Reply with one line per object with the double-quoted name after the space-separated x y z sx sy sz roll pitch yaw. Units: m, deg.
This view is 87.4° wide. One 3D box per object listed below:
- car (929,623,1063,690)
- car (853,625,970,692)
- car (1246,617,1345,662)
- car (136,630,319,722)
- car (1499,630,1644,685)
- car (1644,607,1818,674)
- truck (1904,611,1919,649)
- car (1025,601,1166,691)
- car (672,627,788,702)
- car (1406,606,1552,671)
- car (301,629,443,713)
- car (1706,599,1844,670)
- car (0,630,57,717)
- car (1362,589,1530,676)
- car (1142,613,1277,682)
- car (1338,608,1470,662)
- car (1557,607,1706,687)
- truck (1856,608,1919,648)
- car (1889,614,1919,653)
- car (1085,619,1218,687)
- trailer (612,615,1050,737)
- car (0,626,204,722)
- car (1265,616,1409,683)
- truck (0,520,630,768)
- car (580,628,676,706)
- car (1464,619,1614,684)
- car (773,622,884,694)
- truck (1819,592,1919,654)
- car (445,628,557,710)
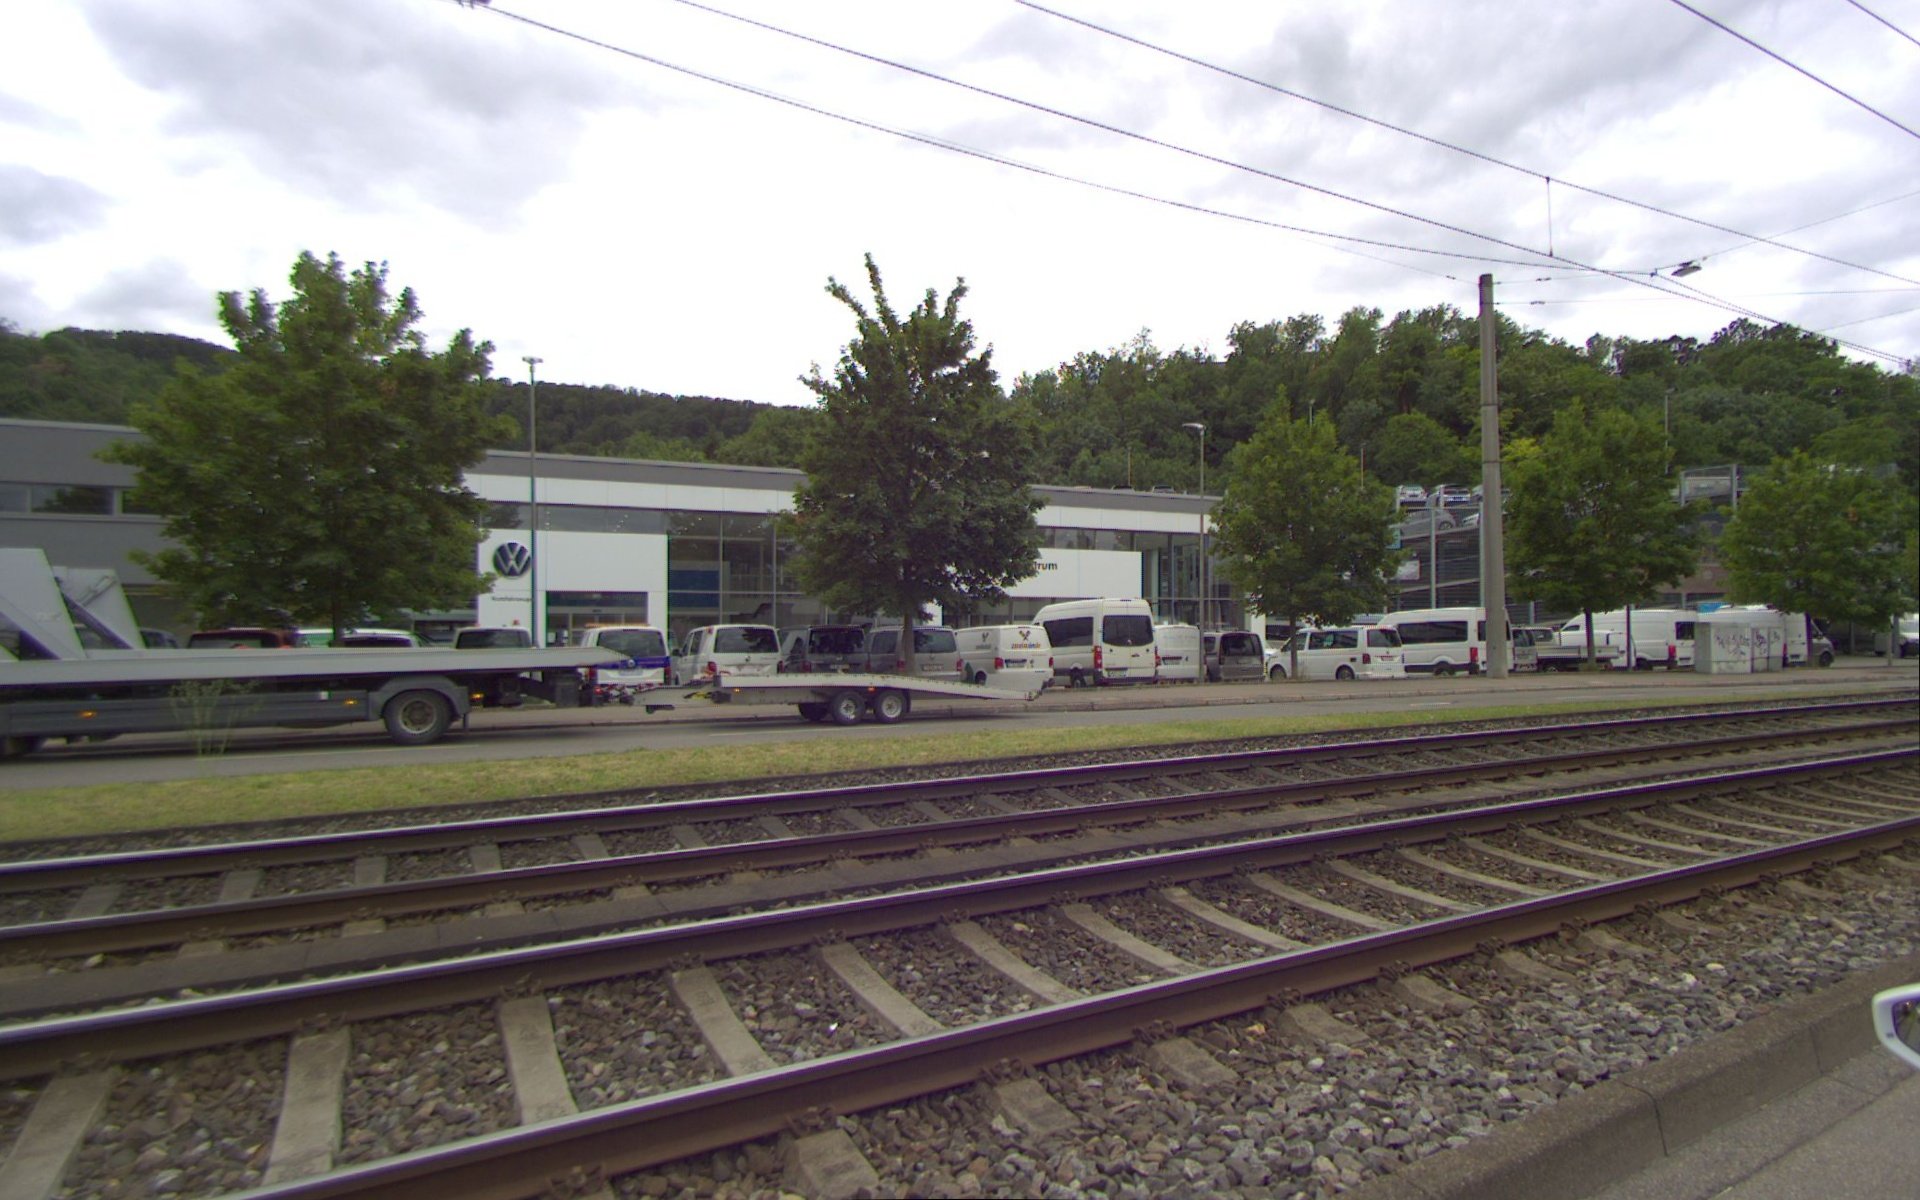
0.889 1.496 27.947 2.003 1.711 4.354 0 -1 -25 "car"
-1.410 1.514 27.377 1.974 1.639 4.360 0 -1 -20 "car"
16.046 1.884 48.351 1.969 2.040 4.838 0 -2 -19 "car"
-14.852 1.461 20.647 1.970 1.639 3.982 0 -1 -20 "car"
23.184 2.111 38.257 1.977 1.936 4.353 0 -1 -25 "car"
32.343 1.648 42.389 2.213 2.636 5.464 0 -1 -21 "car"
67.627 2.037 67.881 2.419 2.622 5.781 0 -2 3 "truck"
3.717 1.244 28.387 2.093 2.342 4.490 0 -1 -20 "car"
-5.745 1.494 24.717 1.977 1.639 4.354 0 -1 -25 "car"
18.523 1.346 36.075 1.977 2.201 4.353 0 -1 -25 "car"
-12.762 1.459 22.065 1.970 1.639 3.982 0 -1 -20 "car"
36.784 1.525 45.326 5.846 3.059 2.105 0 -1 -20 "car"
-19.052 1.380 18.588 2.031 1.639 4.173 0 -1 -20 "car"
16.461 1.088 34.340 2.087 2.734 4.951 0 -1 -25 "car"
7.642 1.410 31.220 1.974 1.973 4.360 0 -1 -20 "car"
22.644 1.771 51.417 5.863 2.636 1.995 -1 -2 39 "car"
25.611 1.737 38.471 1.977 2.856 4.353 0 -1 -25 "car"
64.761 1.907 68.754 2.419 2.622 5.075 0 -2 3 "truck"
51.676 1.762 52.565 1.960 2.040 4.734 0 -2 6 "car"
5.634 1.514 30.169 1.974 1.869 4.360 0 -1 -20 "car"
-2.081 1.171 16.704 6.852 1.720 2.377 1 -3 -25 "trailer"
-16.950 1.366 19.928 2.017 1.686 3.982 0 -1 -20 "car"
12.384 1.581 33.300 1.977 2.037 4.353 0 -1 -25 "car"
-9.302 0.580 13.397 9.093 2.777 2.749 0 -3 -25 "truck"
-7.804 1.477 23.518 1.970 1.639 3.982 0 -1 -20 "car"
20.902 1.797 36.457 1.977 2.201 4.353 0 -1 -25 "car"
-3.547 1.433 26.325 1.974 1.708 4.360 0 -1 -20 "car"
48.787 1.228 53.177 2.077 3.125 5.943 0 -2 8 "truck"
-10.287 1.474 22.802 1.970 1.639 3.982 0 -1 -20 "car"
